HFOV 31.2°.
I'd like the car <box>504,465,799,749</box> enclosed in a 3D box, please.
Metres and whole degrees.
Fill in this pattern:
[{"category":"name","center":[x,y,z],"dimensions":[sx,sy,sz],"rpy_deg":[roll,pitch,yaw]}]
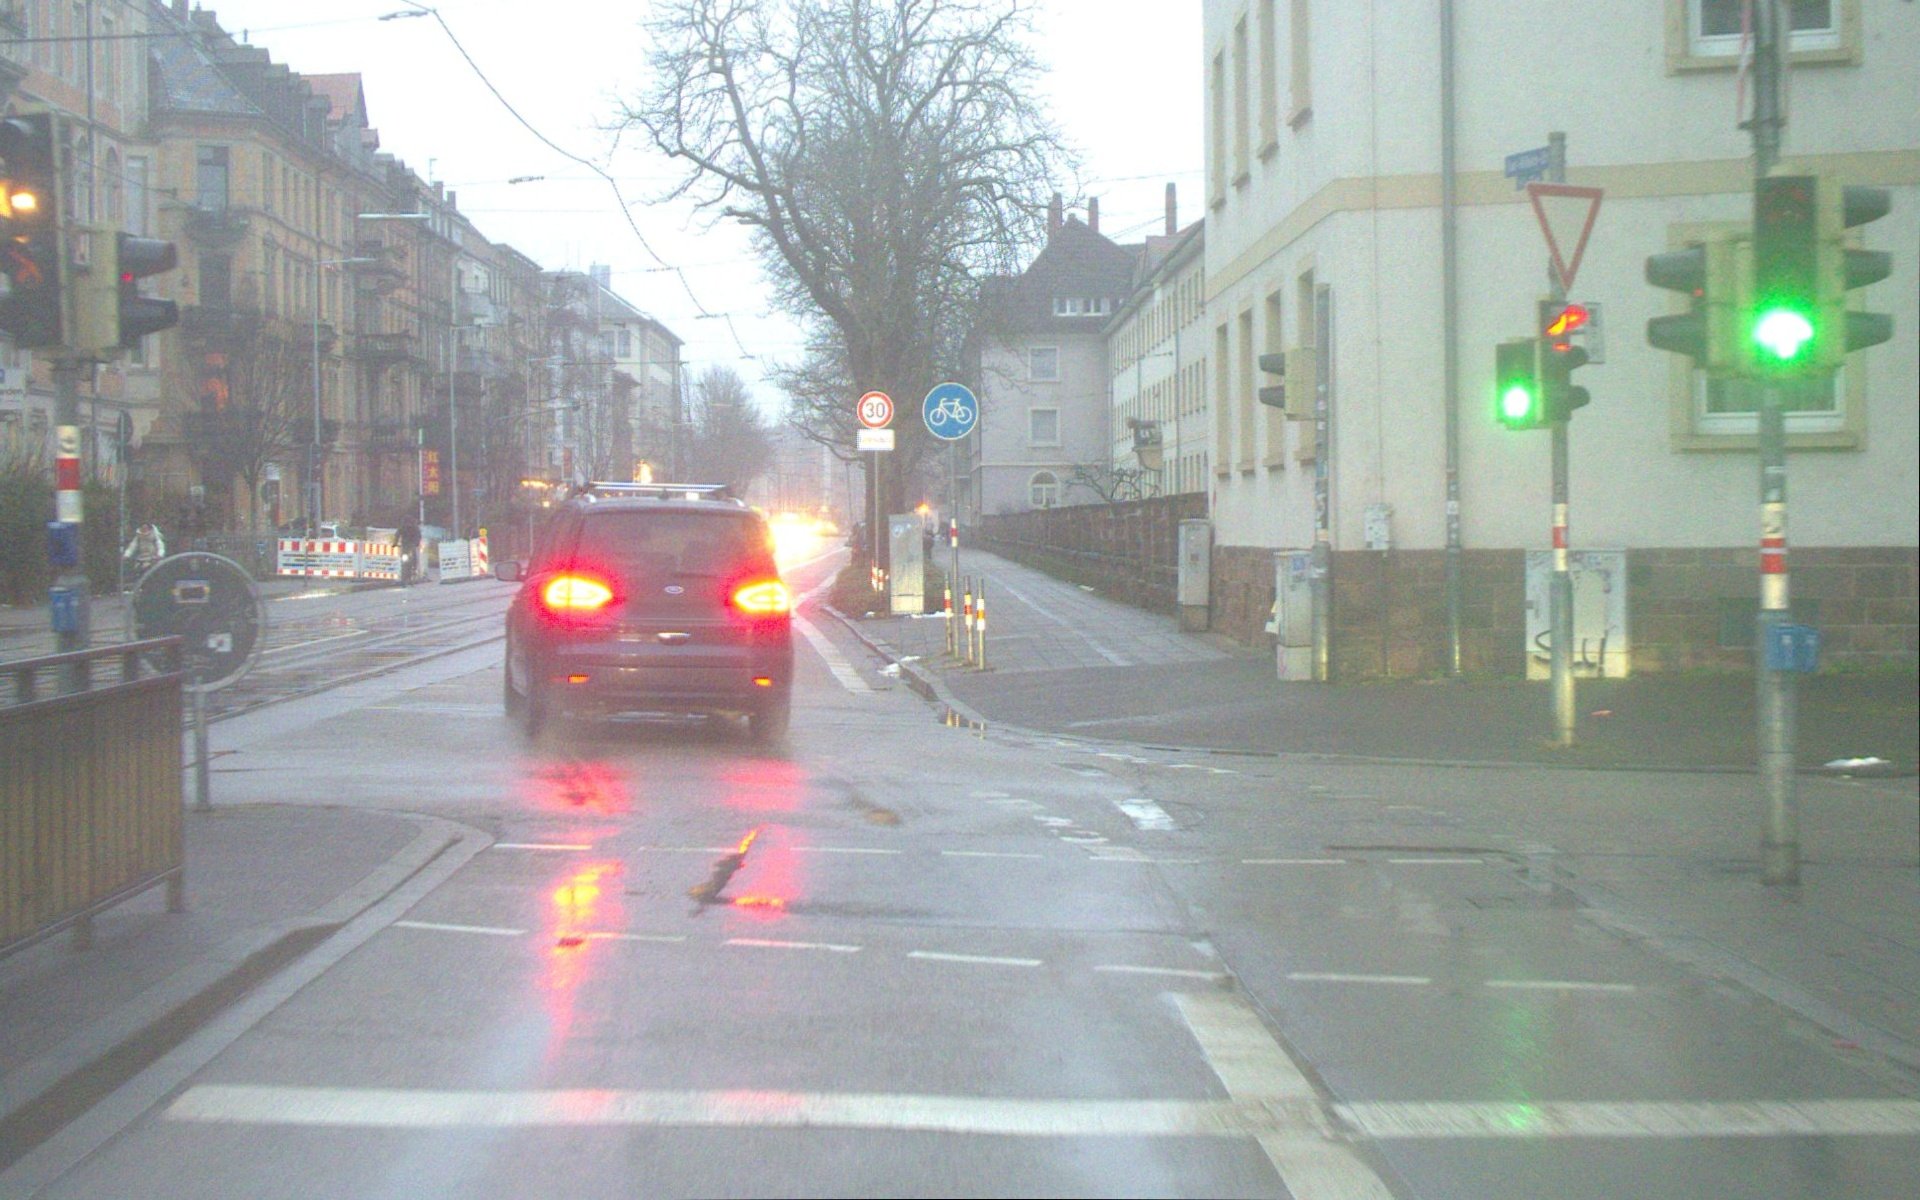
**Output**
[{"category":"car","center":[-2.353,-0.010,25.328],"dimensions":[1.801,1.864,4.019],"rpy_deg":[2,1,-9]}]

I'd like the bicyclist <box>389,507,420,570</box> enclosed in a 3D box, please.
[{"category":"bicyclist","center":[-14.490,-1.606,89.637],"dimensions":[0.683,1.610,0.765],"rpy_deg":[0,1,0]}]

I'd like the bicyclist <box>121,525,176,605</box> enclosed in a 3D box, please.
[{"category":"bicyclist","center":[-14.071,-0.610,59.606],"dimensions":[0.704,1.359,0.944],"rpy_deg":[1,1,0]}]

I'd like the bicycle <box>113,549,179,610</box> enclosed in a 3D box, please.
[{"category":"bicycle","center":[-14.091,-0.361,59.547],"dimensions":[0.681,1.003,1.803],"rpy_deg":[-1,1,0]}]

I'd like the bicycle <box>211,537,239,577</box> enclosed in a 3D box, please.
[{"category":"bicycle","center":[-17.707,-1.036,82.868],"dimensions":[0.263,0.912,1.686],"rpy_deg":[5,2,-1]}]

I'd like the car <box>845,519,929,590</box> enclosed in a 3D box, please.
[{"category":"car","center":[-1.619,-1.015,75.766],"dimensions":[1.785,1.504,3.988],"rpy_deg":[0,1,-1]}]

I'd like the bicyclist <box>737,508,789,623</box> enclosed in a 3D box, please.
[{"category":"bicyclist","center":[-2.983,-0.528,52.098],"dimensions":[0.730,1.730,0.765],"rpy_deg":[0,1,0]}]
